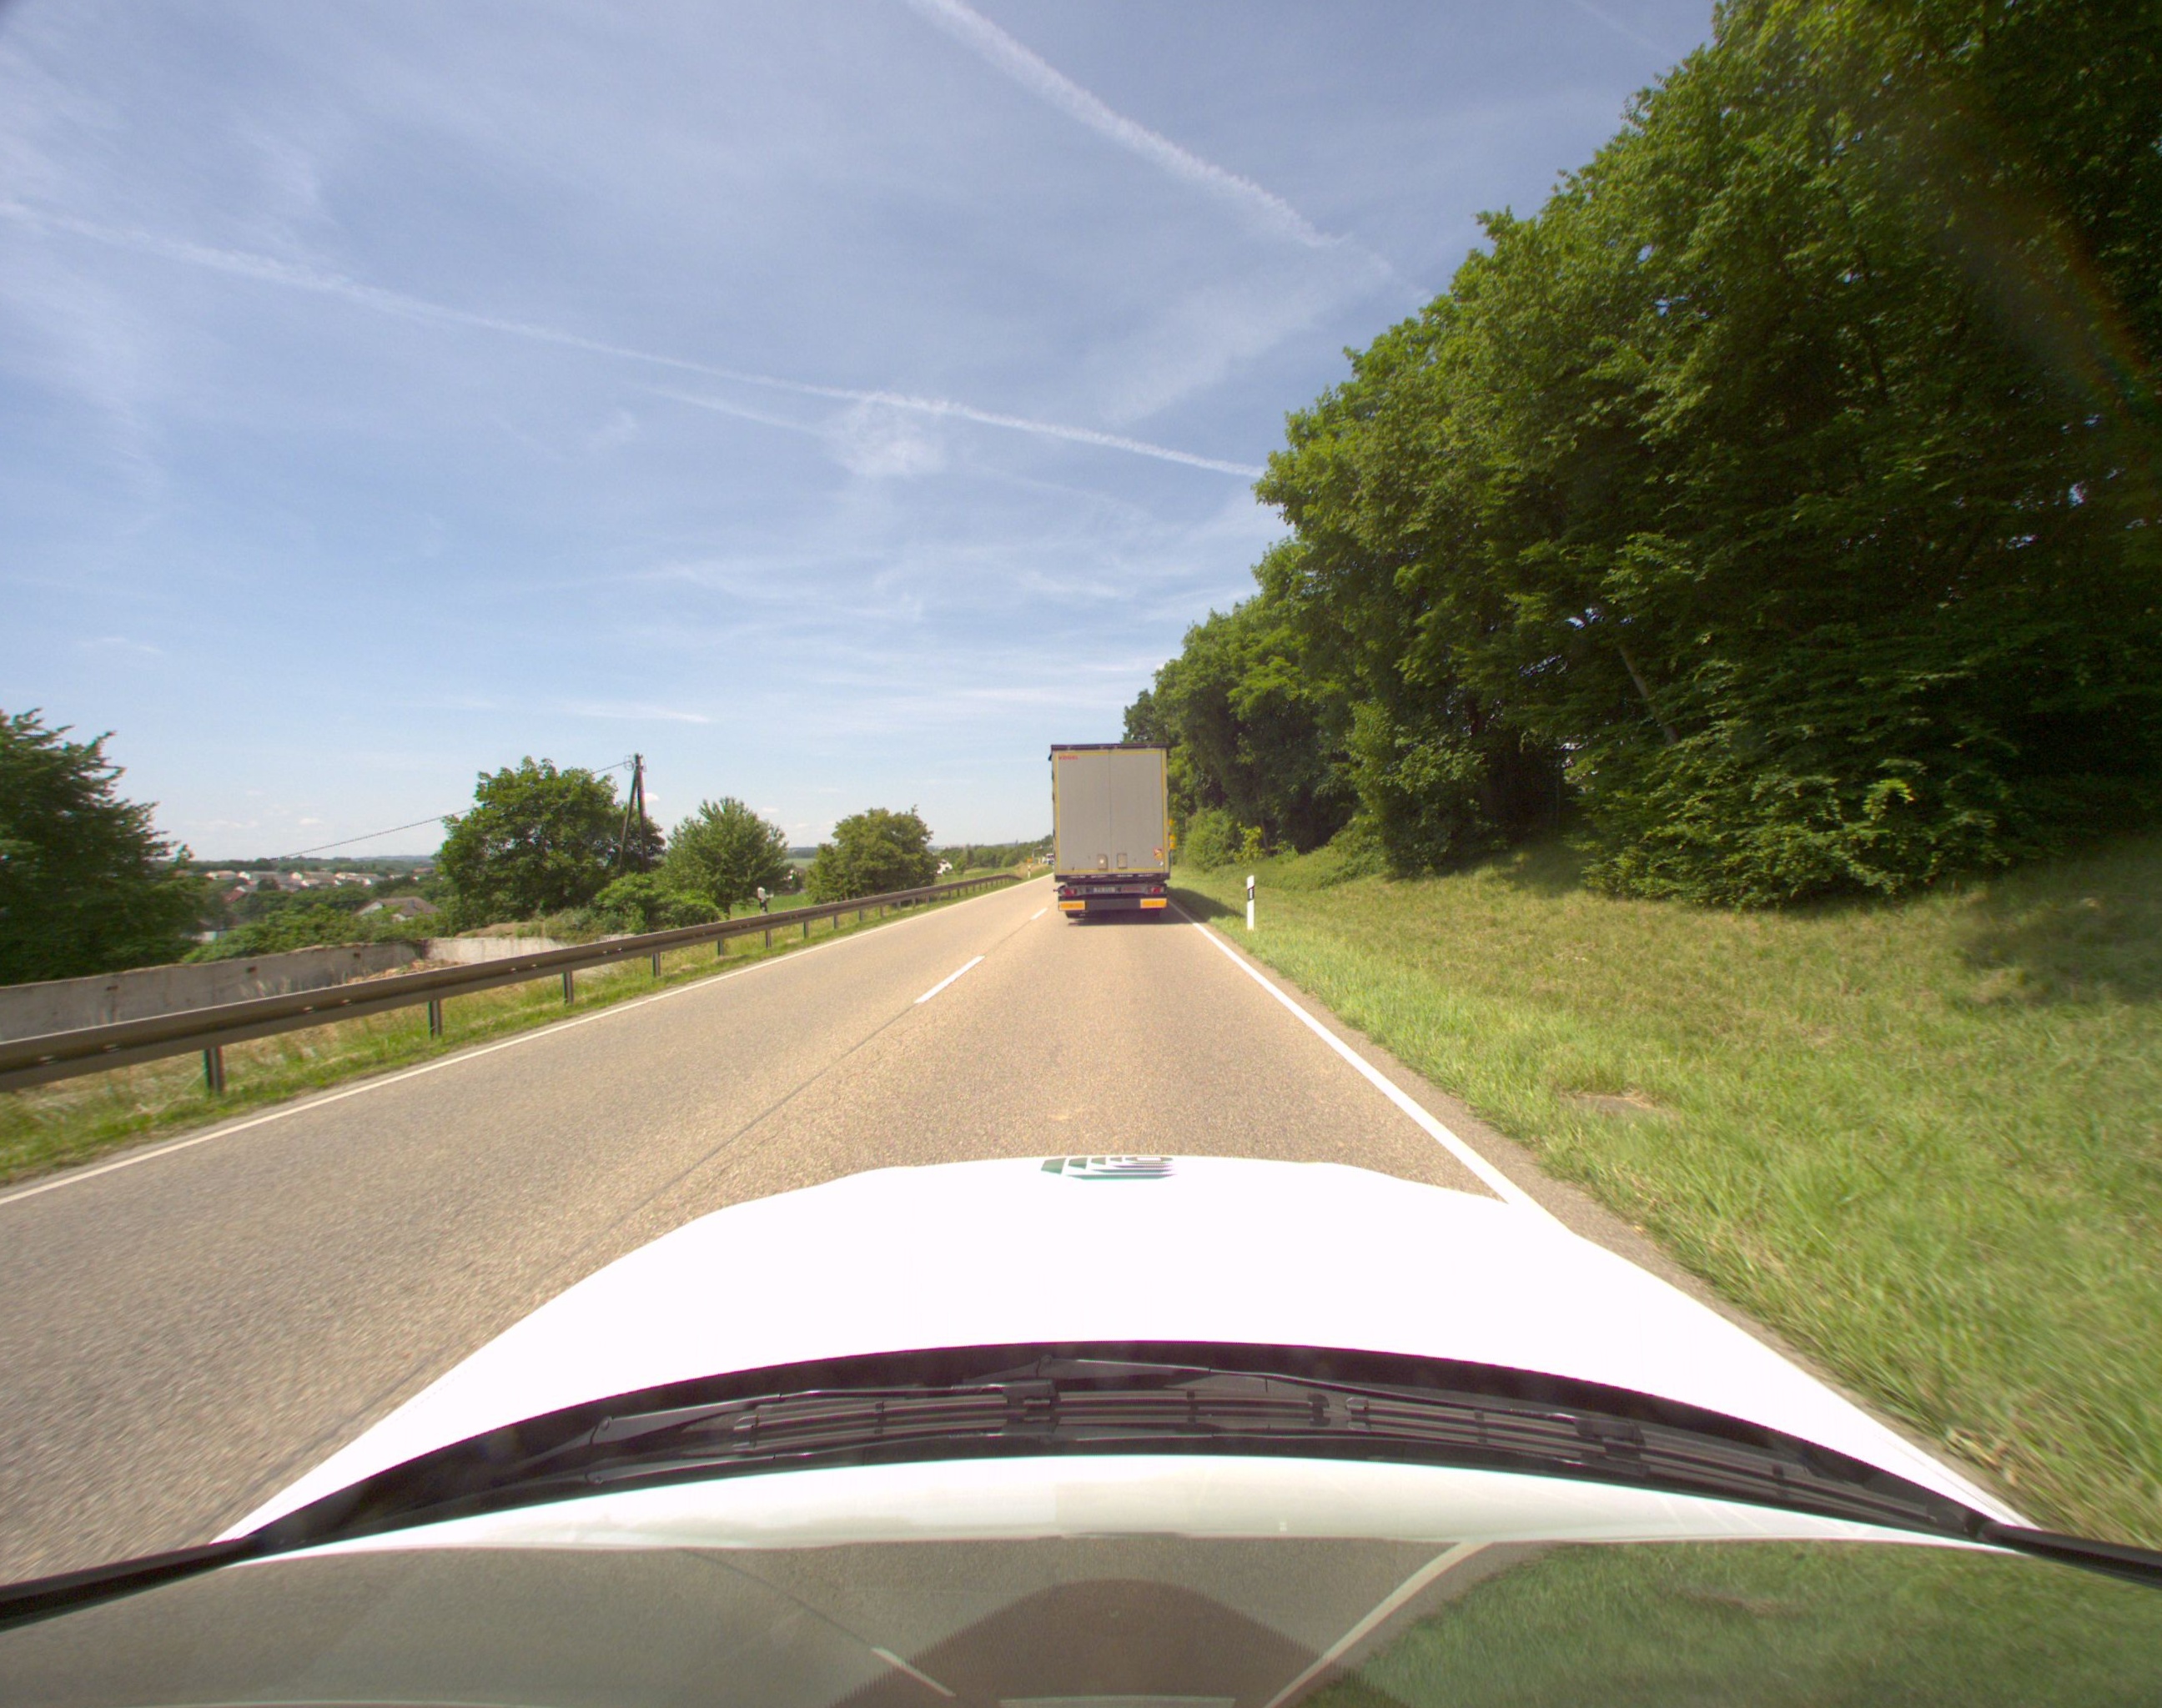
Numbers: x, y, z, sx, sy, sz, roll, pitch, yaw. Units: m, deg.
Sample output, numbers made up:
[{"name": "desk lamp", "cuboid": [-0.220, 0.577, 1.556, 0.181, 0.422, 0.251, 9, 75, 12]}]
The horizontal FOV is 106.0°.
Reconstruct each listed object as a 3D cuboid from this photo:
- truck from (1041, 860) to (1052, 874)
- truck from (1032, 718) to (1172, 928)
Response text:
[{"name": "truck", "cuboid": [-10.013, 3.819, 237.991, 2.749, 3.576, 11.055, -4, -1, -2]}, {"name": "truck", "cuboid": [0.626, -0.644, 21.786, 2.895, 4.410, 8.865, -1, 0, 2]}]
